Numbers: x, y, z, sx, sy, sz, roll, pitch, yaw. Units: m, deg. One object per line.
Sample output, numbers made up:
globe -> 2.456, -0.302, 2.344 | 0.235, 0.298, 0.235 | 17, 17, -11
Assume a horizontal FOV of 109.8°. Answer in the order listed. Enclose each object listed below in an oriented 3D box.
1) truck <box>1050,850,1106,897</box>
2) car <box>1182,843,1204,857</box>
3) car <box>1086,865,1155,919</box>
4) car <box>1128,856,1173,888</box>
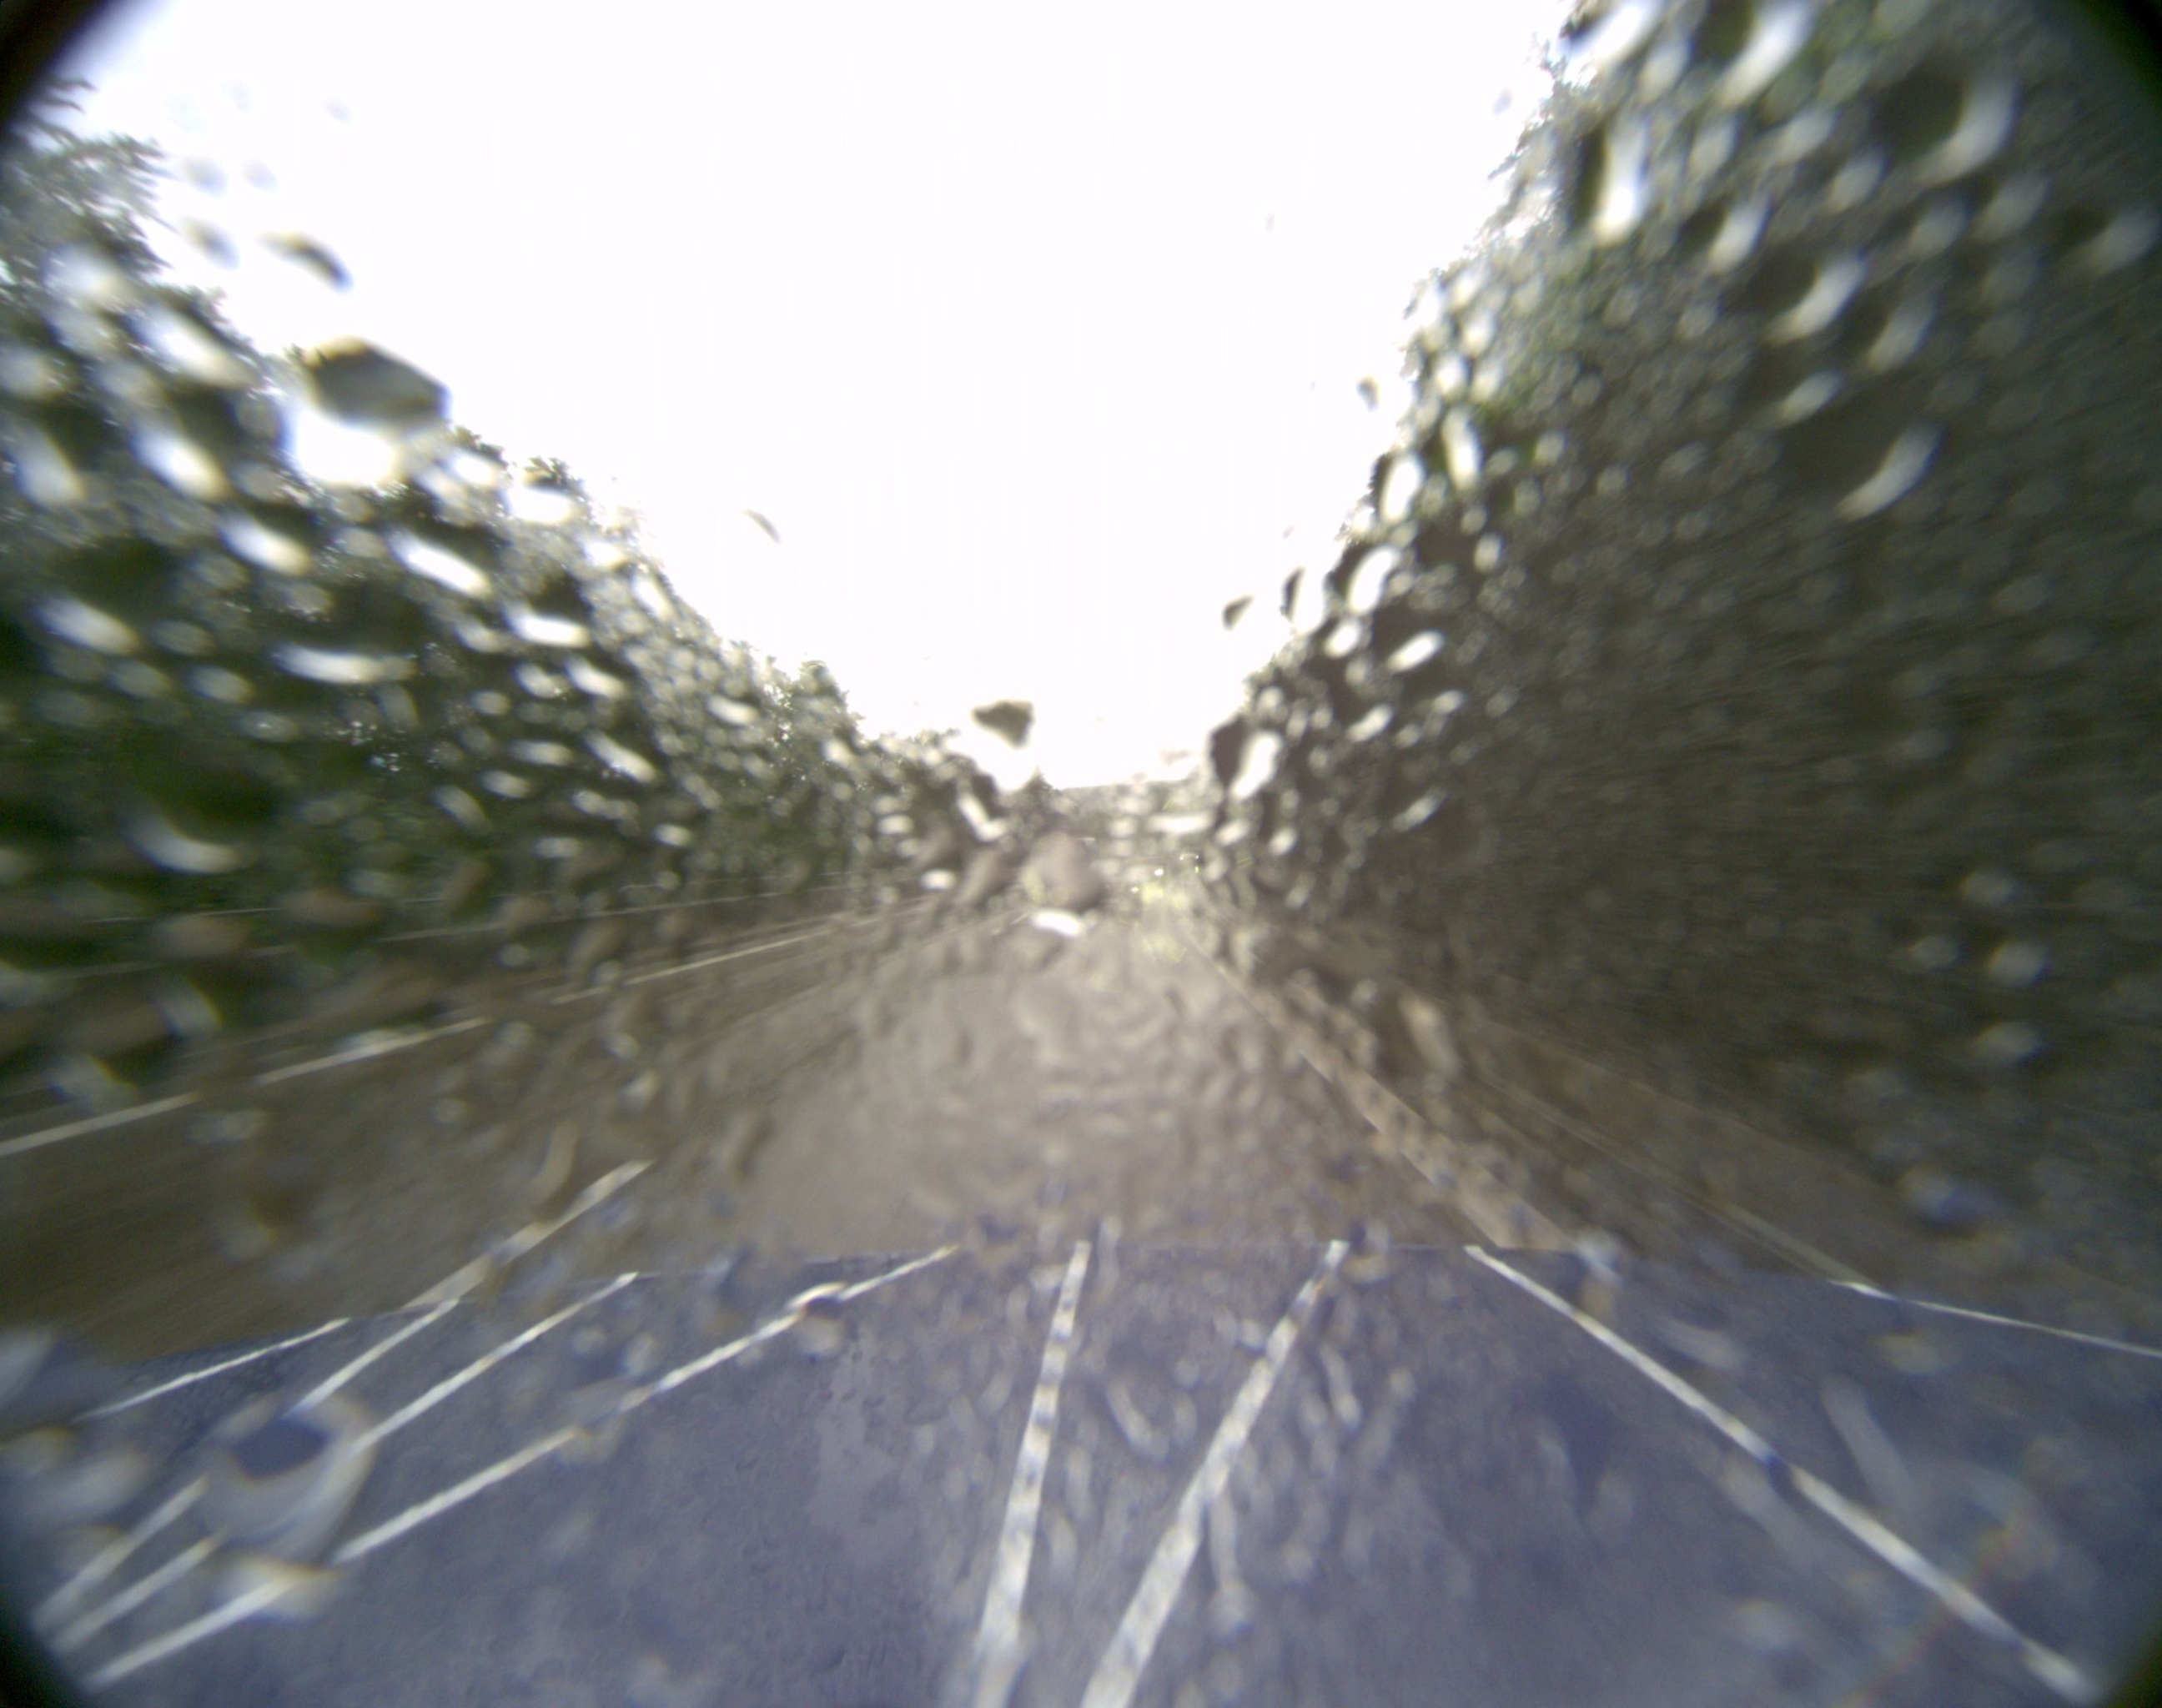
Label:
truck -> -0.032, 1.101, 44.863 | 2.107, 2.481, 8.009 | 2, -1, 8
car -> 12.314, -0.447, 83.455 | 1.825, 1.375, 4.004 | -4, 0, 14
car -> 1.140, 1.059, 22.578 | 1.827, 1.375, 4.001 | -2, 0, 2
car -> 3.653, 0.907, 39.324 | 1.826, 1.375, 4.003 | -4, 0, 11
